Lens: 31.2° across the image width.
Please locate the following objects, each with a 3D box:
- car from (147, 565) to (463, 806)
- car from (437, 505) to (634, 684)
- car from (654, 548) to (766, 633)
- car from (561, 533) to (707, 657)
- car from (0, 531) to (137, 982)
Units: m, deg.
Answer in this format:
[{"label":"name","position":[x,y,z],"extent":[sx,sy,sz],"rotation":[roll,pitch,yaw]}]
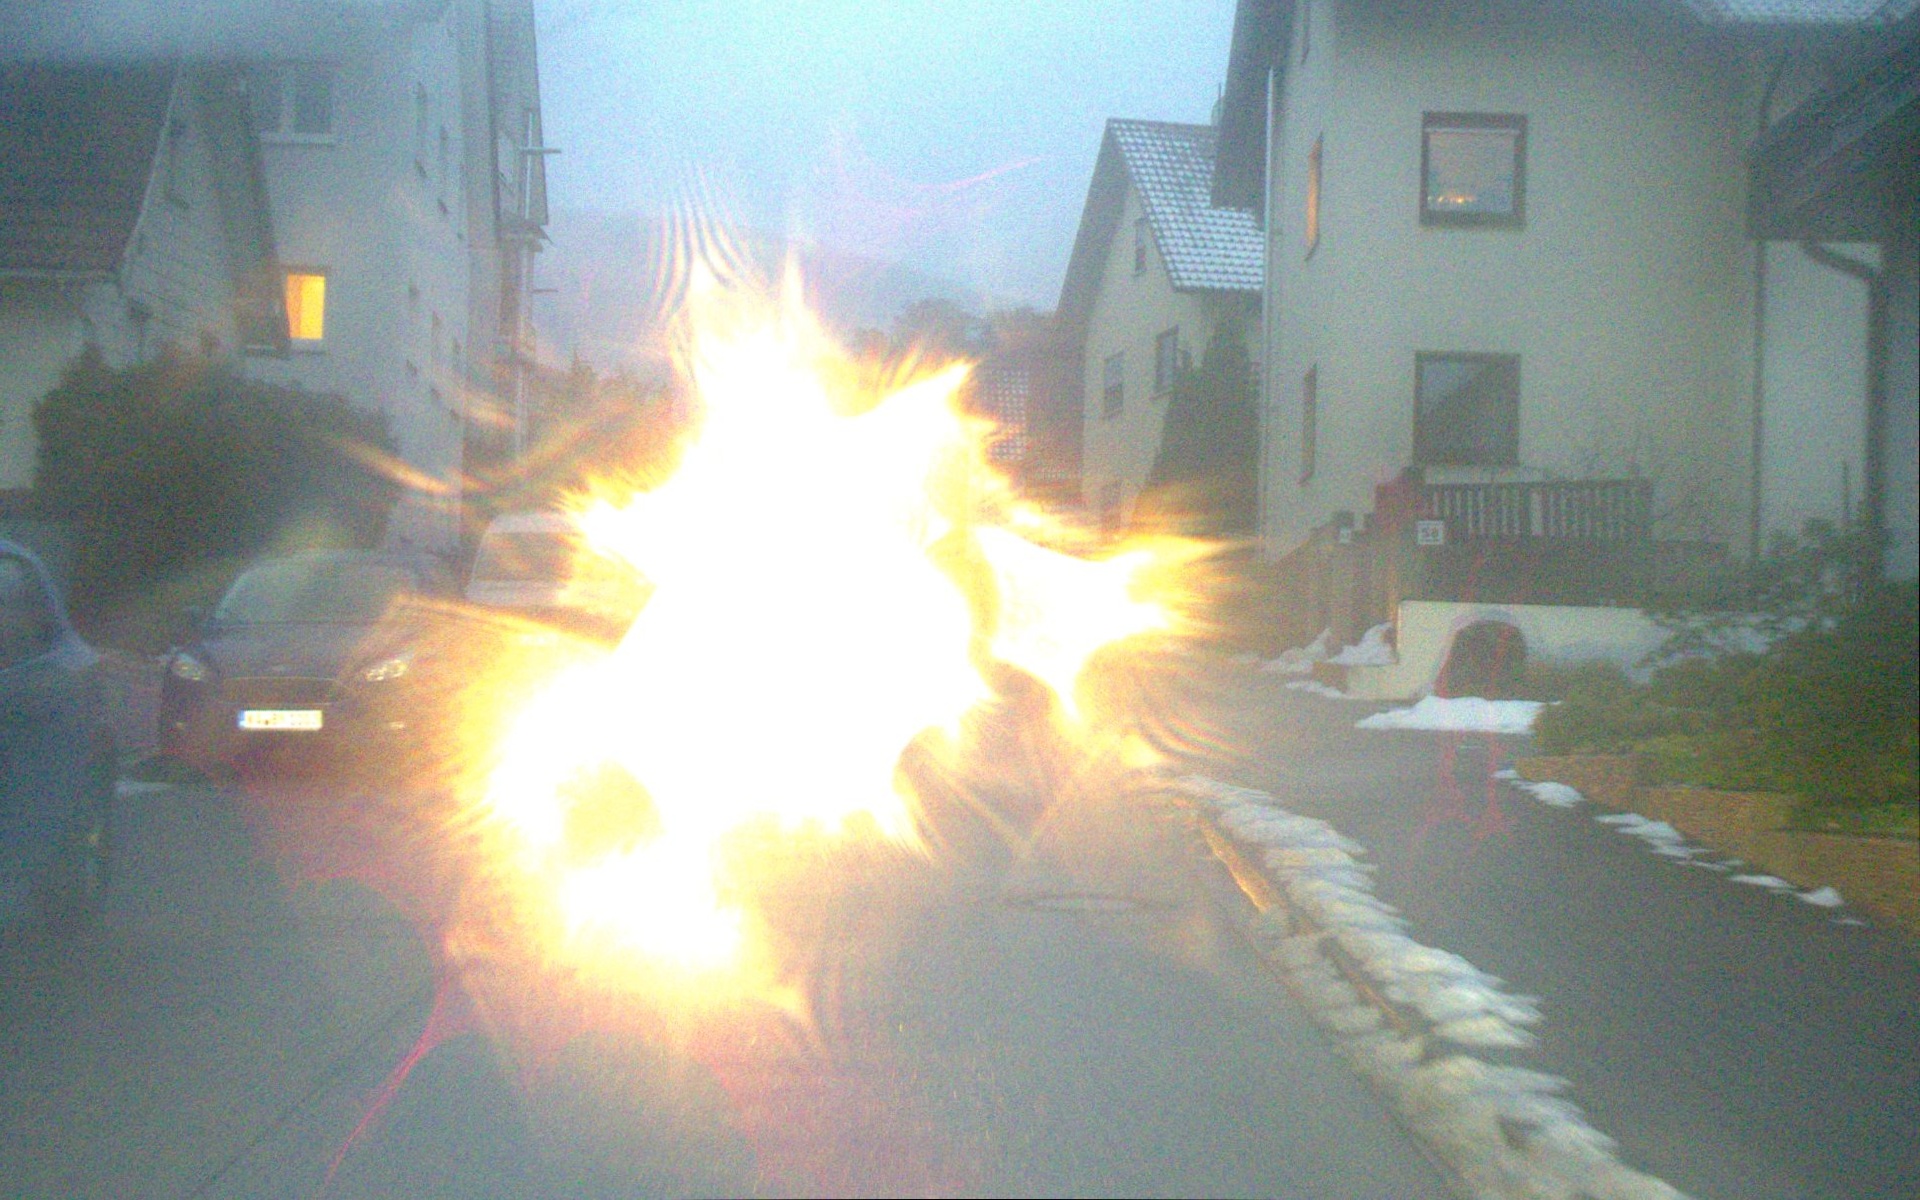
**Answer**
[{"label":"car","position":[-4.438,0.516,23.837],"extent":[1.794,1.498,4.310],"rotation":[0,1,-6]},{"label":"car","position":[-4.538,-0.080,37.274],"extent":[1.825,1.829,4.345],"rotation":[0,1,-3]},{"label":"car","position":[-5.032,-0.164,69.711],"extent":[1.993,1.644,4.000],"rotation":[0,-1,0]},{"label":"car","position":[-4.850,-0.095,51.577],"extent":[1.993,1.794,4.001],"rotation":[0,1,-3]},{"label":"car","position":[-4.196,0.537,11.917],"extent":[1.683,1.579,4.175],"rotation":[1,0,0]}]
